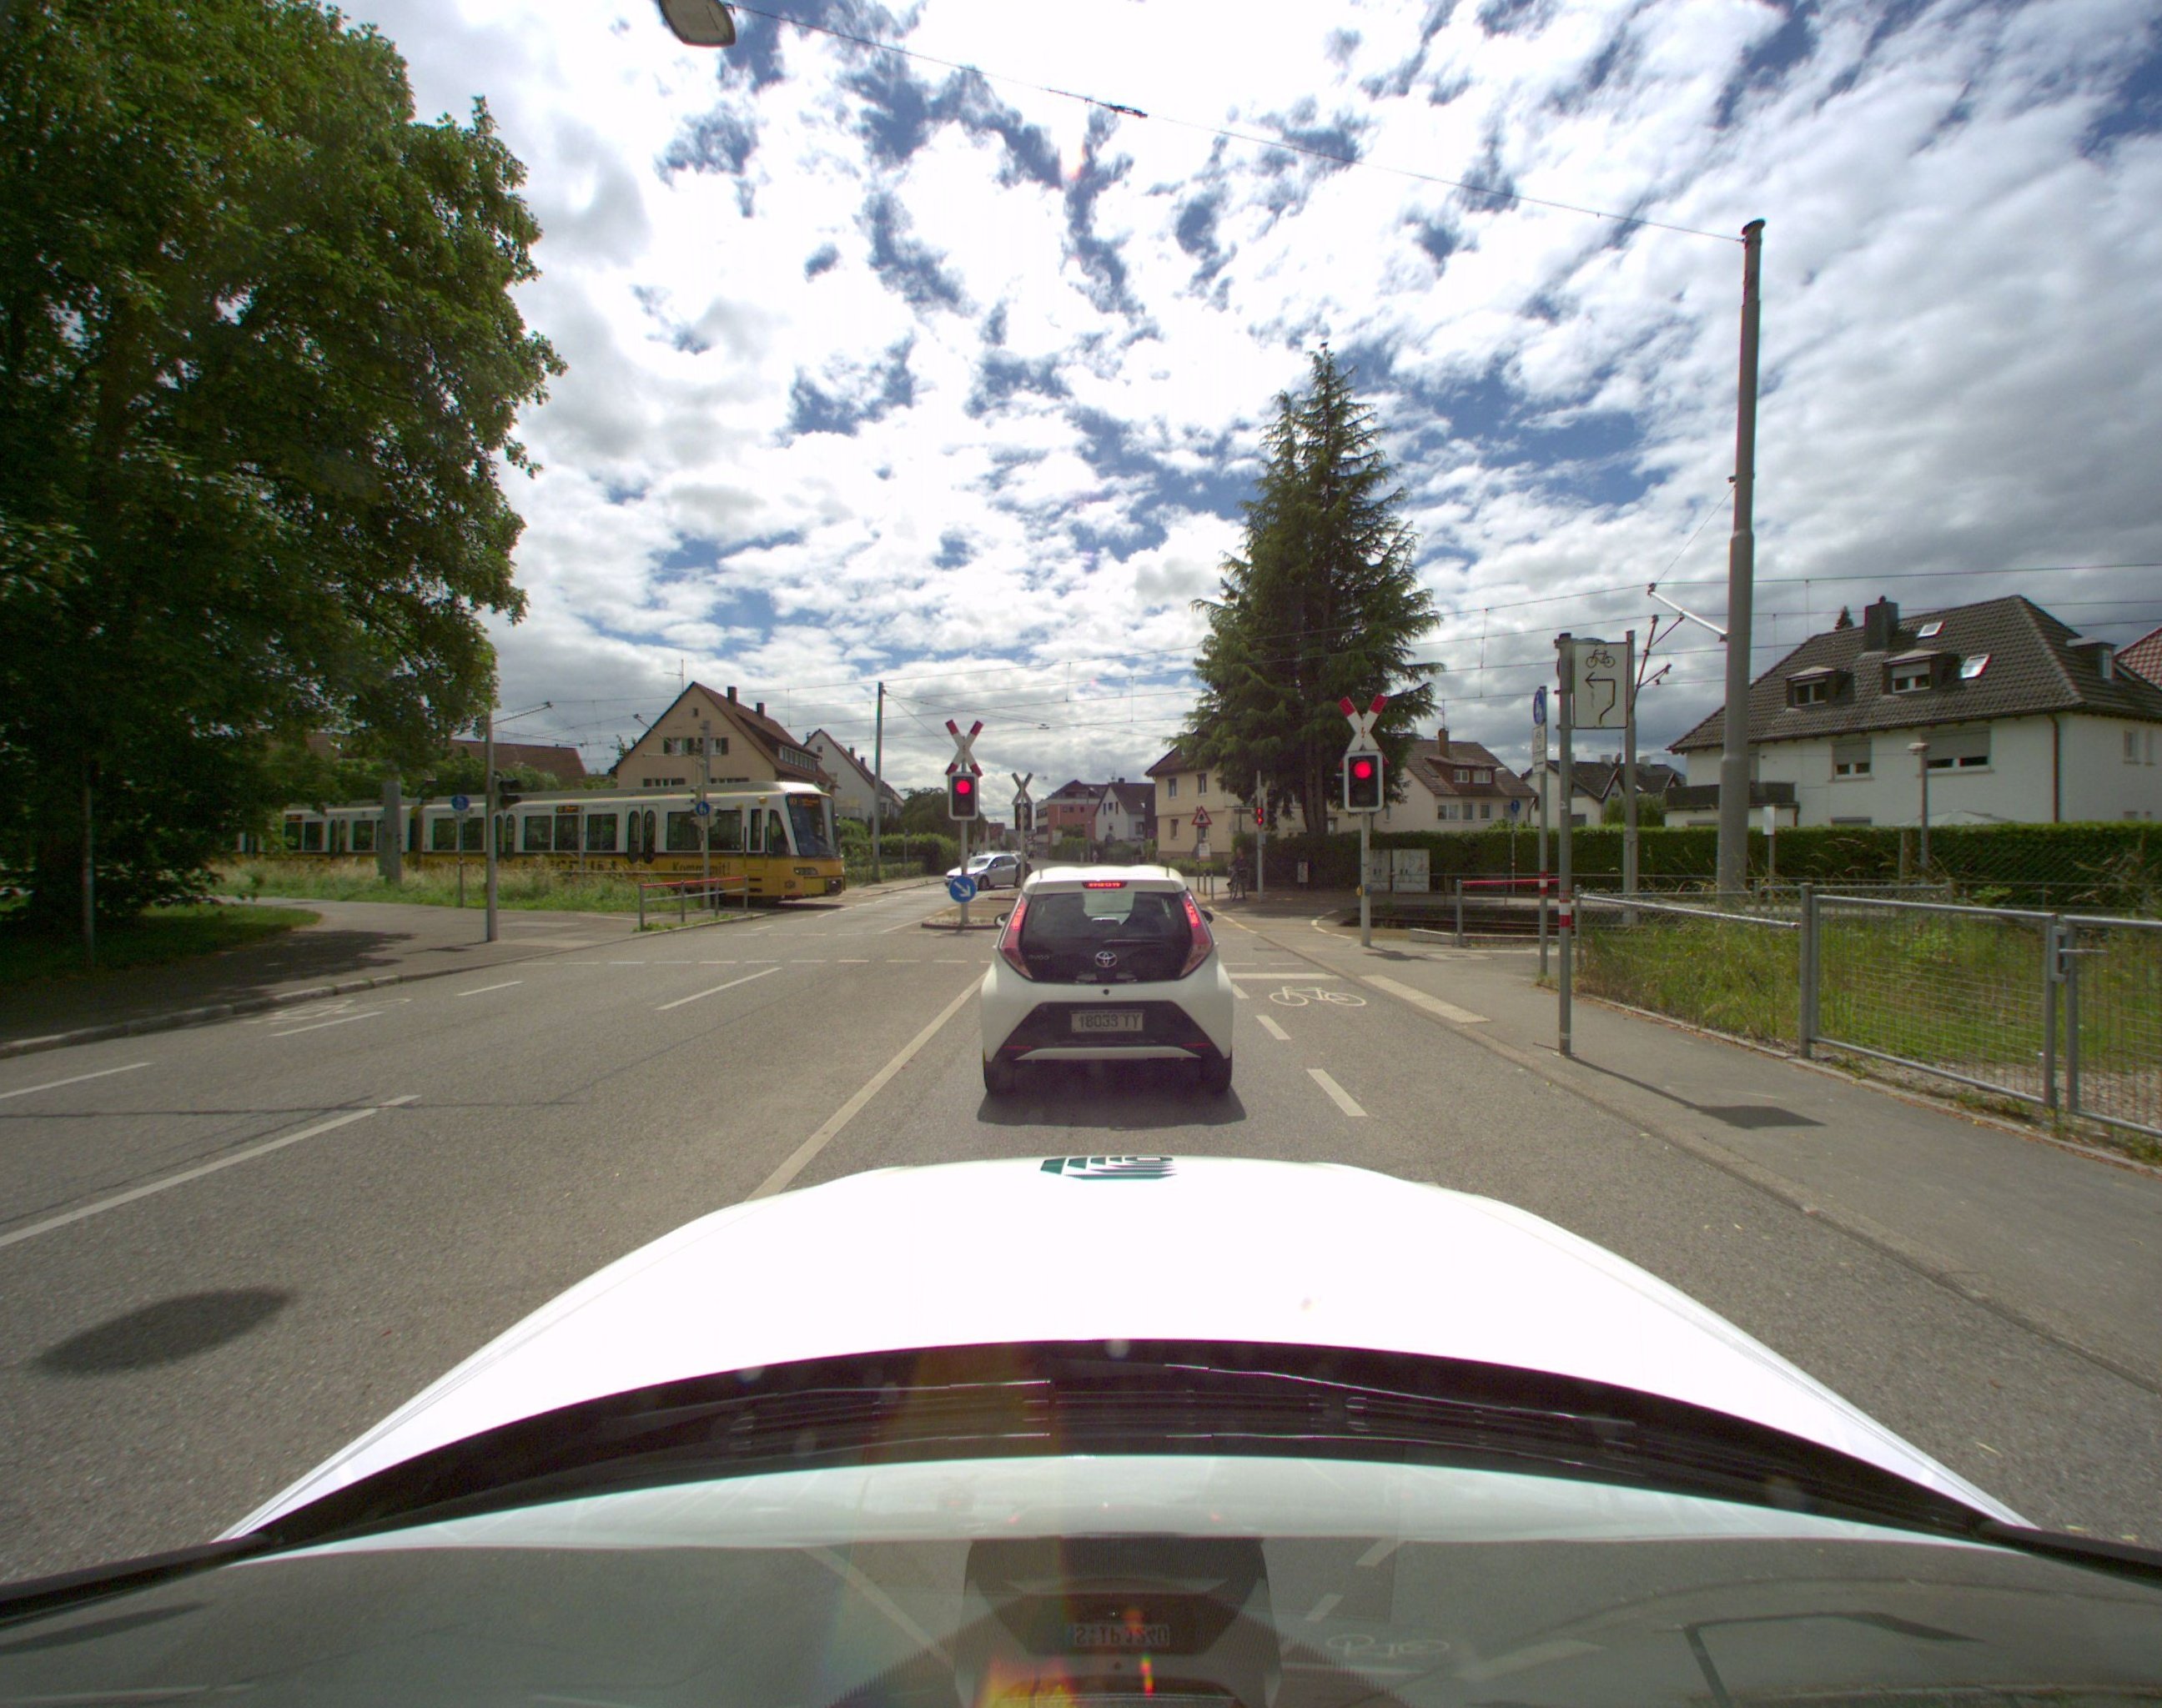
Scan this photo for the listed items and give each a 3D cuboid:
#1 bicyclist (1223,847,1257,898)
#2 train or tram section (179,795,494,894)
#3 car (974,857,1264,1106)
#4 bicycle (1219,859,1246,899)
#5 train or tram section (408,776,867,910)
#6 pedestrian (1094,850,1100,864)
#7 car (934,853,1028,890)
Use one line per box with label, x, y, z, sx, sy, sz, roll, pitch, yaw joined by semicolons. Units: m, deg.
bicyclist;5.083;0.584;26.137;0.839;1.553;0.755;-3;2;-4
train or tram section;-32.973;-0.393;35.525;18.885;3.704;2.936;0;1;24
car;0.187;0.760;6.701;1.716;1.442;3.706;0;0;-2
bicycle;4.855;0.792;26.166;0.456;1.172;1.477;-3;2;-4
train or tram section;-15.815;-0.344;27.714;18.885;3.704;2.936;0;1;24
pedestrian;1.883;0.380;95.032;0.723;1.576;0.804;0;0;2
car;-4.186;0.707;34.719;1.887;1.441;4.124;0;0;30
